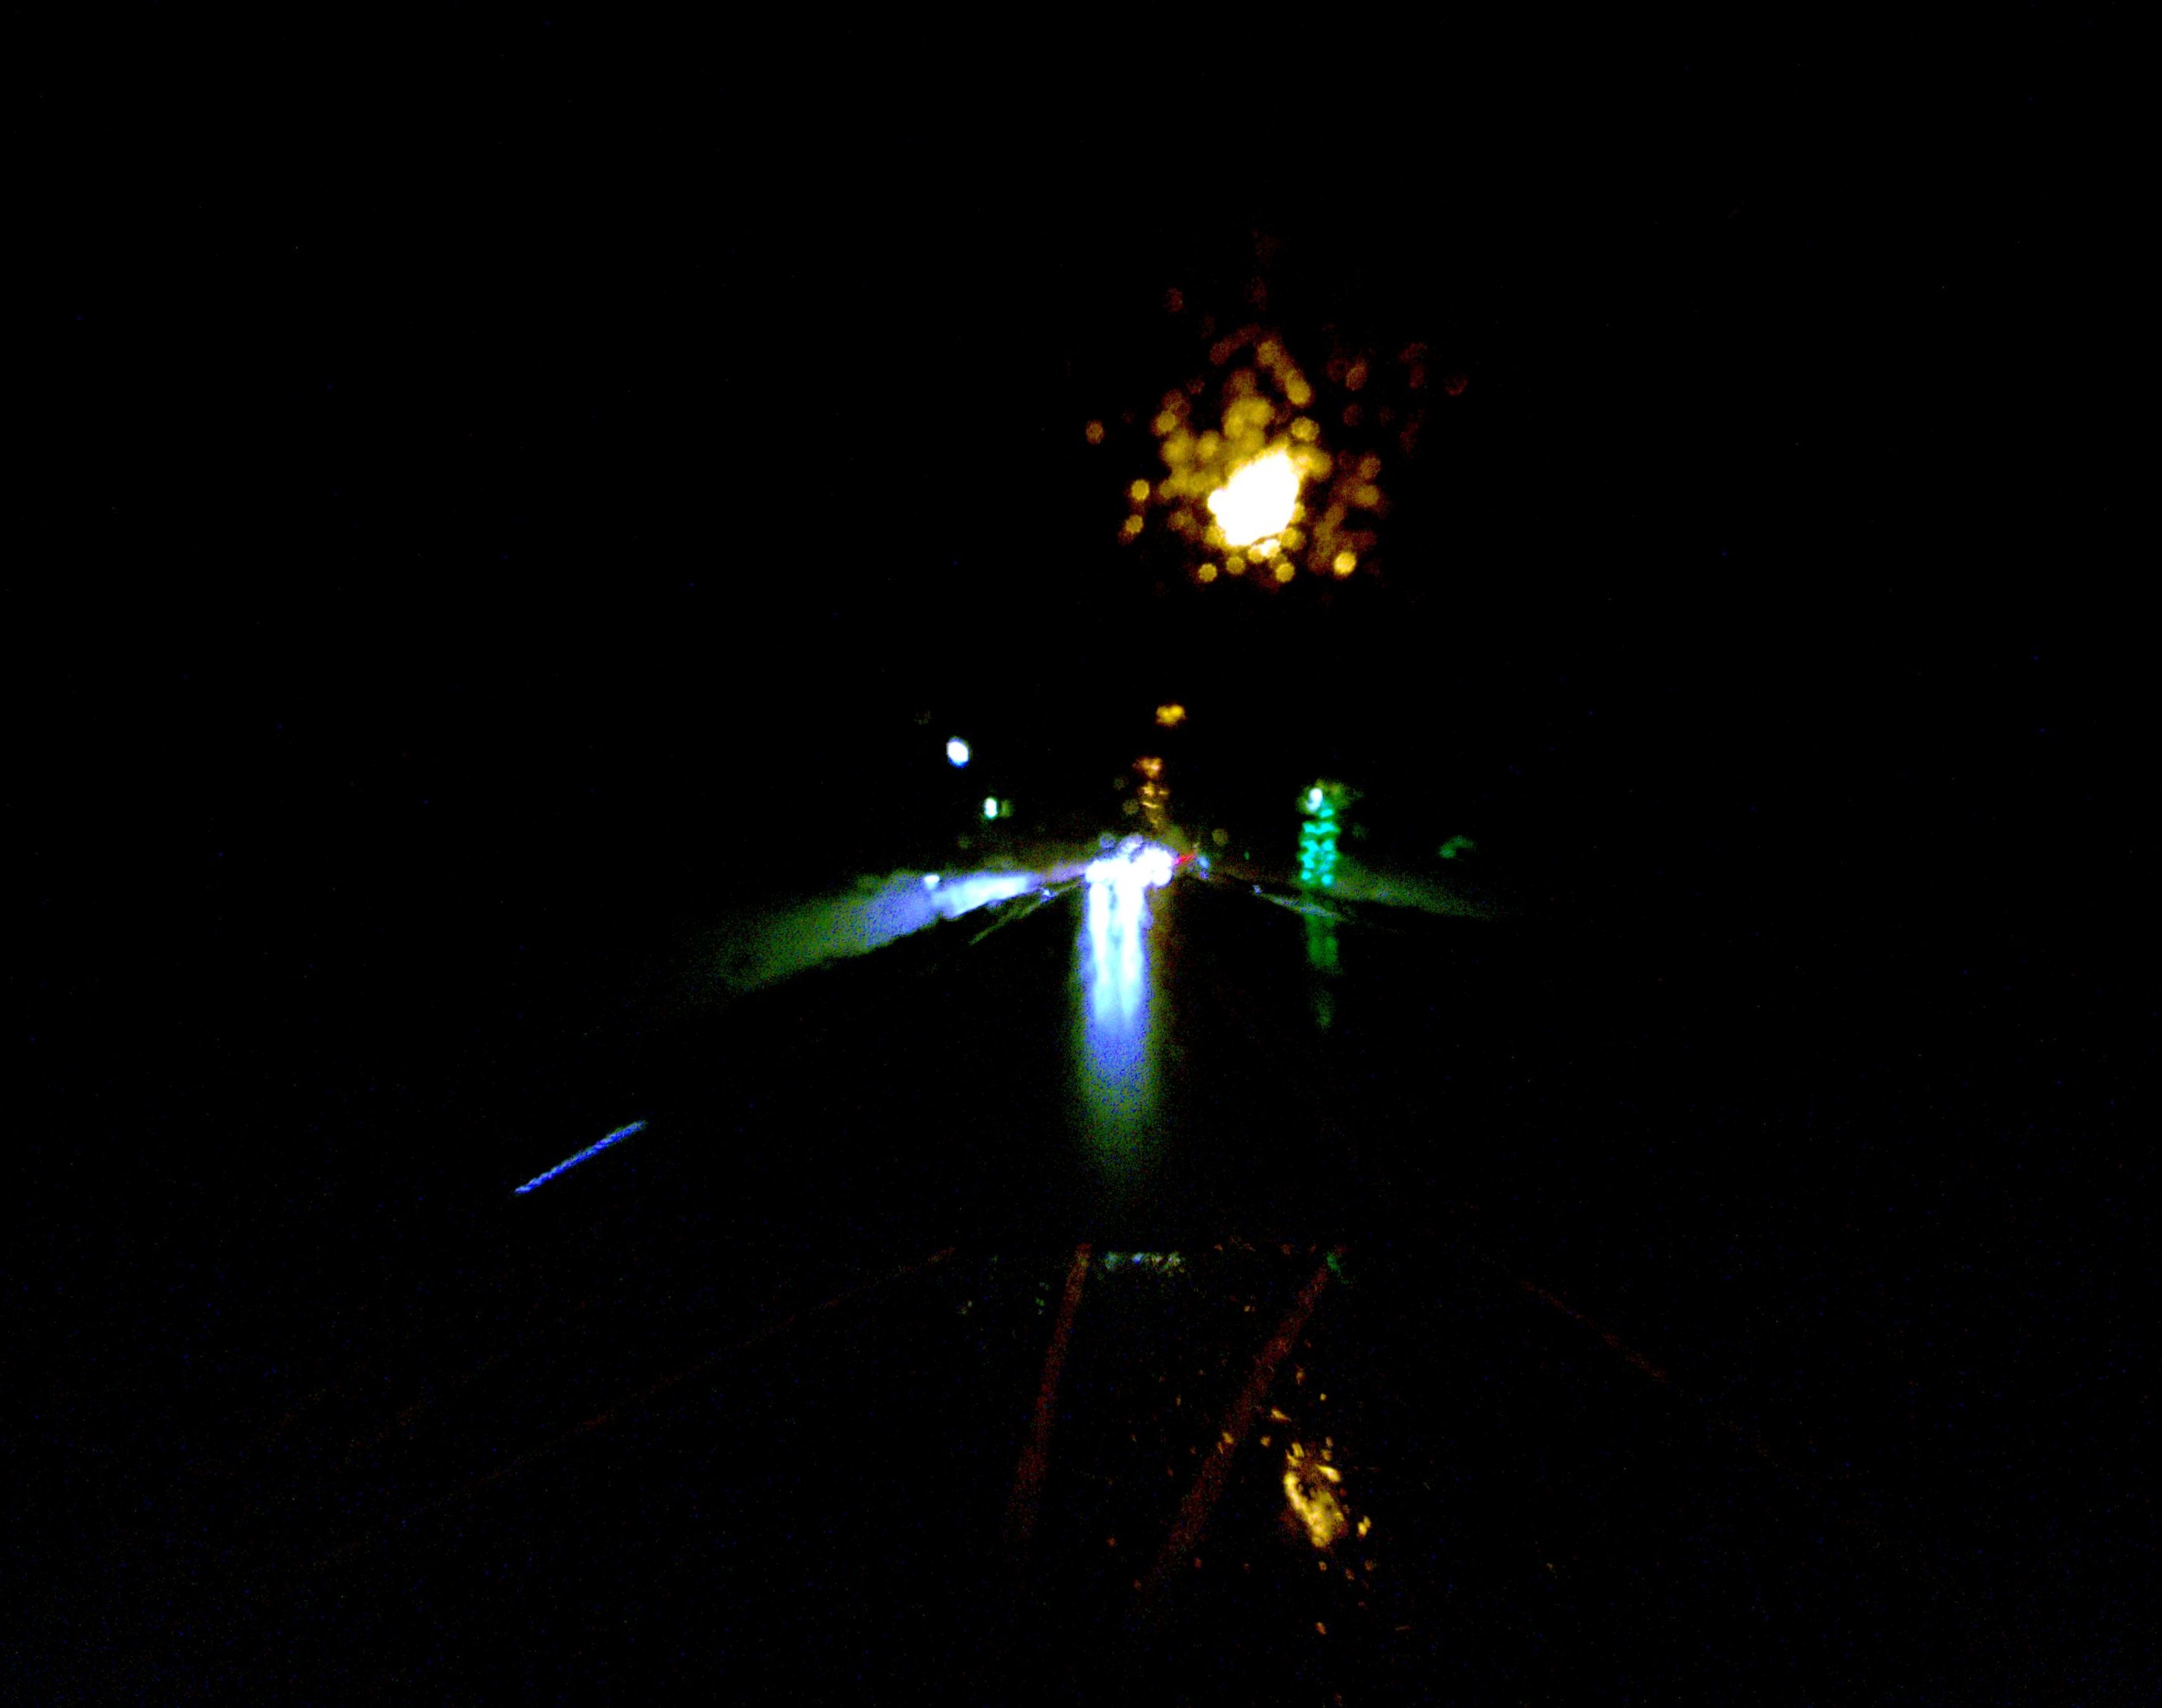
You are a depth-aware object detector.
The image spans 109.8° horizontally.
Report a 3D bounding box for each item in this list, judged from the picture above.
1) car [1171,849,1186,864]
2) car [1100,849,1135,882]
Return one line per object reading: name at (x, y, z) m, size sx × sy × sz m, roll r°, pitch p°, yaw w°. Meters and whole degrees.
car at (11.290, 0.268, 87.604) m, size 1.634 × 1.640 × 3.777 m, roll -1°, pitch 0°, yaw 9°
car at (2.029, 0.610, 41.485) m, size 1.730 × 1.595 × 4.000 m, roll -3°, pitch 1°, yaw 3°
